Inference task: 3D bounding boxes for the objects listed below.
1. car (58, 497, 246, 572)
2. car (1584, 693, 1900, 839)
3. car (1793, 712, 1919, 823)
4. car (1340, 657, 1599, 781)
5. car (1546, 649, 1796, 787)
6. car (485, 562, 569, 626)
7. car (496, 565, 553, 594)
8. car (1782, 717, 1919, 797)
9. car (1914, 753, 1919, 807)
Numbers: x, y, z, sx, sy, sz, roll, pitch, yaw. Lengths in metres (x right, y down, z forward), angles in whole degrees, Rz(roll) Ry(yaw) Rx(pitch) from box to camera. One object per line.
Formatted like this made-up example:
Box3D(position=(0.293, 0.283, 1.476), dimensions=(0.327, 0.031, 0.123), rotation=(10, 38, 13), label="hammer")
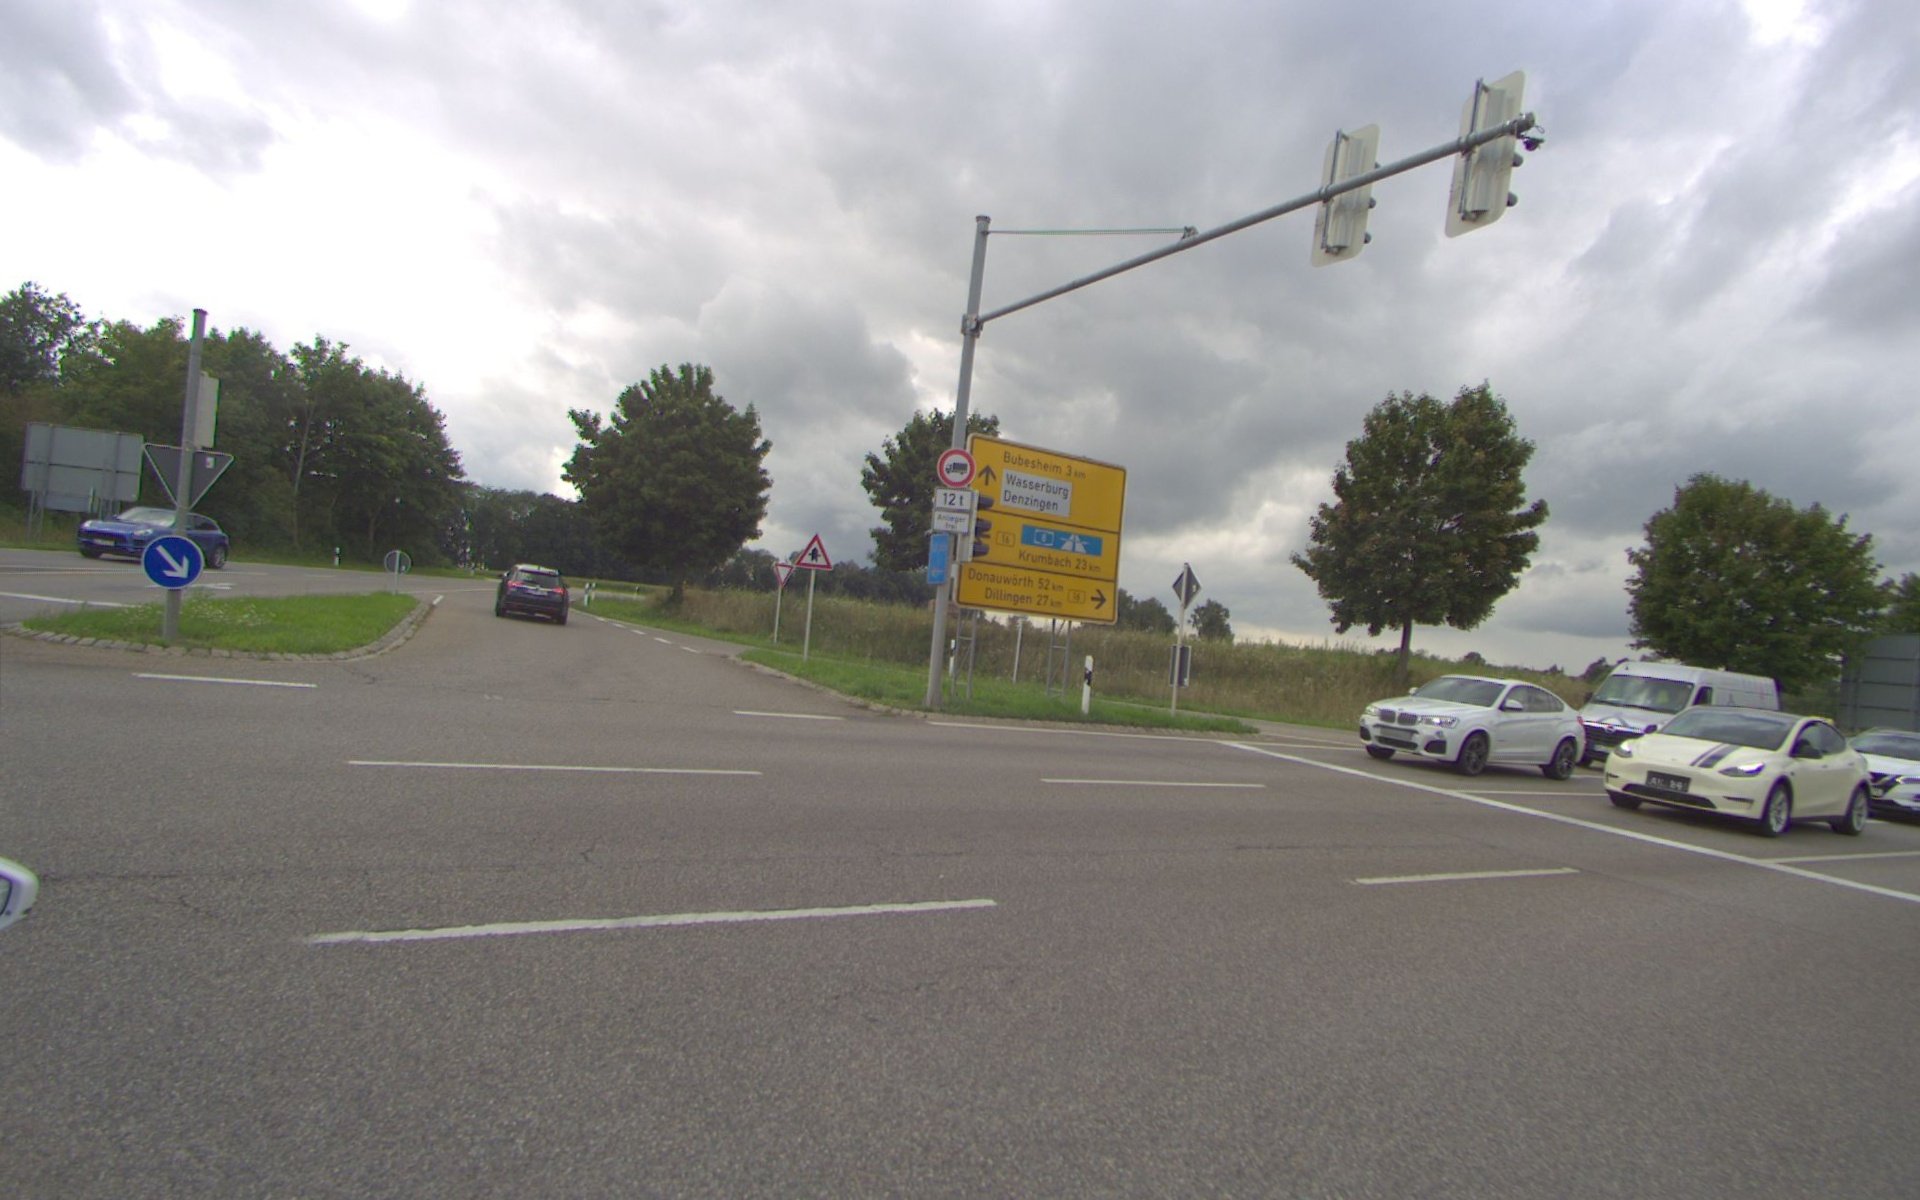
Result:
Box3D(position=(-23.352, -1.815, 29.366), dimensions=(1.965, 1.589, 4.752), rotation=(7, -1, -7), label="car")
Box3D(position=(11.172, 2.360, 14.294), dimensions=(4.700, 1.583, 1.985), rotation=(8, -2, -32), label="car")
Box3D(position=(17.466, 3.120, 18.493), dimensions=(4.278, 1.648, 1.985), rotation=(8, -2, -31), label="car")
Box3D(position=(8.868, 2.080, 17.436), dimensions=(4.232, 1.649, 1.983), rotation=(8, 0, -32), label="car")
Box3D(position=(15.661, 2.625, 22.088), dimensions=(5.455, 2.470, 2.380), rotation=(7, -2, -31), label="car")
Box3D(position=(-12.253, -0.206, 28.351), dimensions=(1.792, 1.468, 4.245), rotation=(7, -1, -27), label="car")
Box3D(position=(-27.841, -1.284, 64.476), dimensions=(1.965, 1.521, 4.664), rotation=(7, -1, -6), label="car")
Box3D(position=(23.297, 4.063, 25.901), dimensions=(4.231, 1.648, 1.985), rotation=(8, -2, -32), label="car")
Box3D(position=(22.856, 3.964, 21.836), dimensions=(4.535, 1.472, 1.984), rotation=(8, -1, -32), label="car")
